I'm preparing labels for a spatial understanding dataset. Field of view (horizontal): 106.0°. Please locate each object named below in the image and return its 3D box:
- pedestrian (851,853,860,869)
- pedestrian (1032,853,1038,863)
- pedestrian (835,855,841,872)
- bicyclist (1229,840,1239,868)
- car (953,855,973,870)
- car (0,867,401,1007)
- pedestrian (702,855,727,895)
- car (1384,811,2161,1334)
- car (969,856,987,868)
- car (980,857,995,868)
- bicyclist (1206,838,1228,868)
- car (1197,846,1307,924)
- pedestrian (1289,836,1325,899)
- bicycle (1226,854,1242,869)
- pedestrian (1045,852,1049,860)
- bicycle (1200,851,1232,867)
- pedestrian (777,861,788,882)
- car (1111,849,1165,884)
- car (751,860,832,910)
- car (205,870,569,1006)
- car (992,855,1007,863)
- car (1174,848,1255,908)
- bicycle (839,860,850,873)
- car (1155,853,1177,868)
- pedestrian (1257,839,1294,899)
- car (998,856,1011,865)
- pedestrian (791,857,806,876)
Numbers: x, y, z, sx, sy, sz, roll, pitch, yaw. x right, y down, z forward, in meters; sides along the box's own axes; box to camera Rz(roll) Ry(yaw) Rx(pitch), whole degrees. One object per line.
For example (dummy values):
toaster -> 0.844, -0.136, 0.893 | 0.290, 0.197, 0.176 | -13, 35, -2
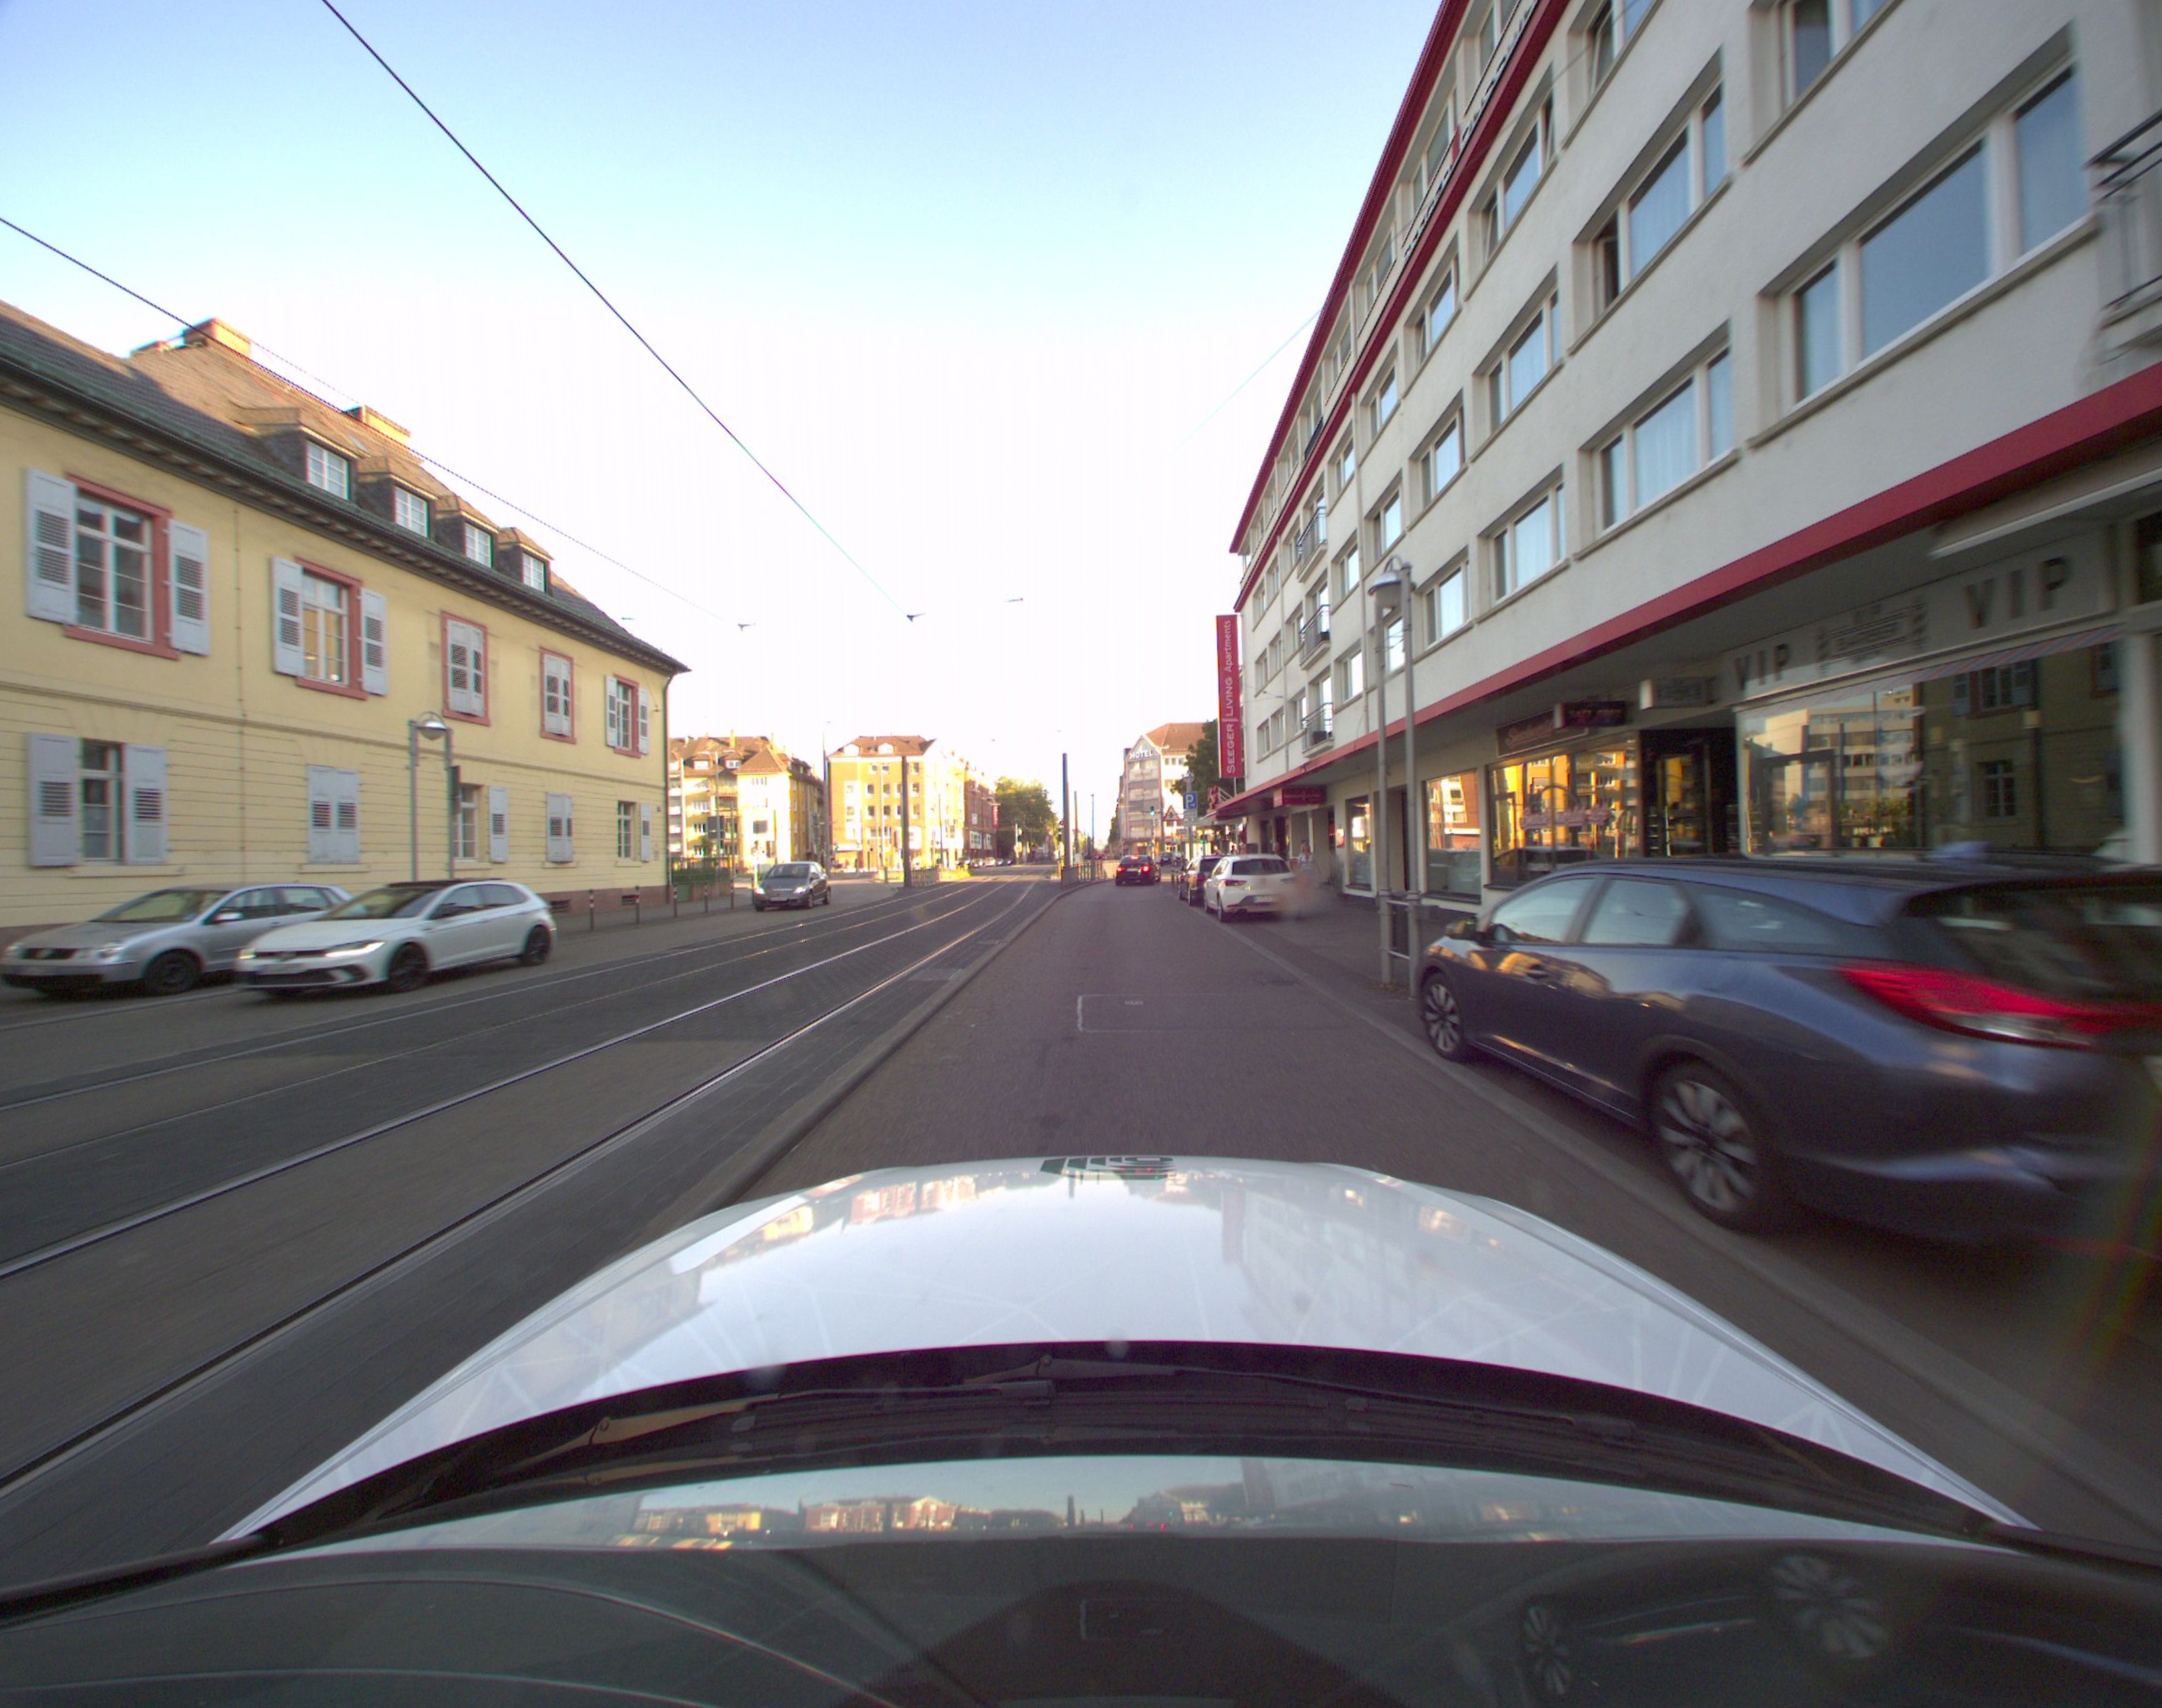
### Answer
pedestrian -> -26.780, 0.858, 96.801 | 0.939, 1.868, 0.836 | 0, 0, -8
pedestrian -> -8.969, 0.806, 158.846 | 0.984, 2.014, 0.726 | 0, -1, 0
pedestrian -> -26.213, 1.048, 87.928 | 0.501, 1.868, 0.562 | 0, 0, -4
bicyclist -> 10.128, 0.021, 53.933 | 0.464, 1.830, 0.558 | -2, 0, -7
car -> -15.503, 1.132, 107.352 | 1.988, 1.901, 4.810 | -2, 0, -1
car -> -12.923, 1.057, 12.173 | 1.805, 1.617, 4.218 | 0, 0, 3
pedestrian -> -17.742, 0.993, 39.410 | 0.720, 1.893, 0.770 | -2, 0, 25
car -> 3.334, 0.637, 4.587 | 1.728, 1.512, 4.306 | -3, 0, 2
car -> -14.776, 1.087, 116.911 | 1.988, 1.585, 4.585 | -2, 0, -1
car -> -14.924, 1.377, 130.056 | 1.988, 1.585, 4.112 | -2, 0, -1
bicyclist -> 8.809, -0.061, 52.663 | 0.844, 1.917, 1.103 | -1, 0, -35
car -> 3.814, 0.630, 18.828 | 1.778, 1.512, 4.054 | -3, 0, 2
pedestrian -> 6.441, 0.381, 23.276 | 0.726, 1.741, 0.863 | -3, 0, 2
bicycle -> 10.130, 0.463, 53.956 | 0.464, 0.970, 1.796 | -2, 0, -6
pedestrian -> -7.534, 0.415, 182.605 | 0.720, 1.681, 0.992 | -2, 0, 4
bicycle -> 8.747, 0.330, 52.765 | 0.844, 1.020, 2.055 | -2, 0, -35
pedestrian -> -27.326, 1.559, 74.610 | 0.885, 1.868, 0.970 | -2, 0, -19
car -> 2.875, 0.578, 40.225 | 1.979, 1.585, 4.015 | -2, 0, 14
car -> -9.778, 0.990, 27.803 | 1.734, 1.512, 4.024 | -2, 0, -8
car -> -9.731, 1.069, 11.945 | 1.800, 1.512, 4.035 | -2, 0, 1
car -> -14.613, 0.884, 146.694 | 1.659, 1.448, 4.213 | -2, 0, 9
car -> 3.840, 0.646, 24.124 | 1.728, 1.512, 4.688 | -3, 0, 2
bicycle -> -25.641, 1.342, 88.315 | 0.616, 1.325, 2.014 | 0, 0, -2
car -> 9.077, 0.682, 87.135 | 1.986, 1.552, 4.002 | -2, 0, 2
pedestrian -> 5.757, 0.430, 24.169 | 0.824, 1.718, 0.843 | -3, 0, 2
car -> -14.930, 1.229, 158.845 | 1.988, 1.585, 4.477 | -2, 0, -1
pedestrian -> -30.435, 1.321, 87.814 | 1.012, 1.944, 1.107 | -2, 0, 40
